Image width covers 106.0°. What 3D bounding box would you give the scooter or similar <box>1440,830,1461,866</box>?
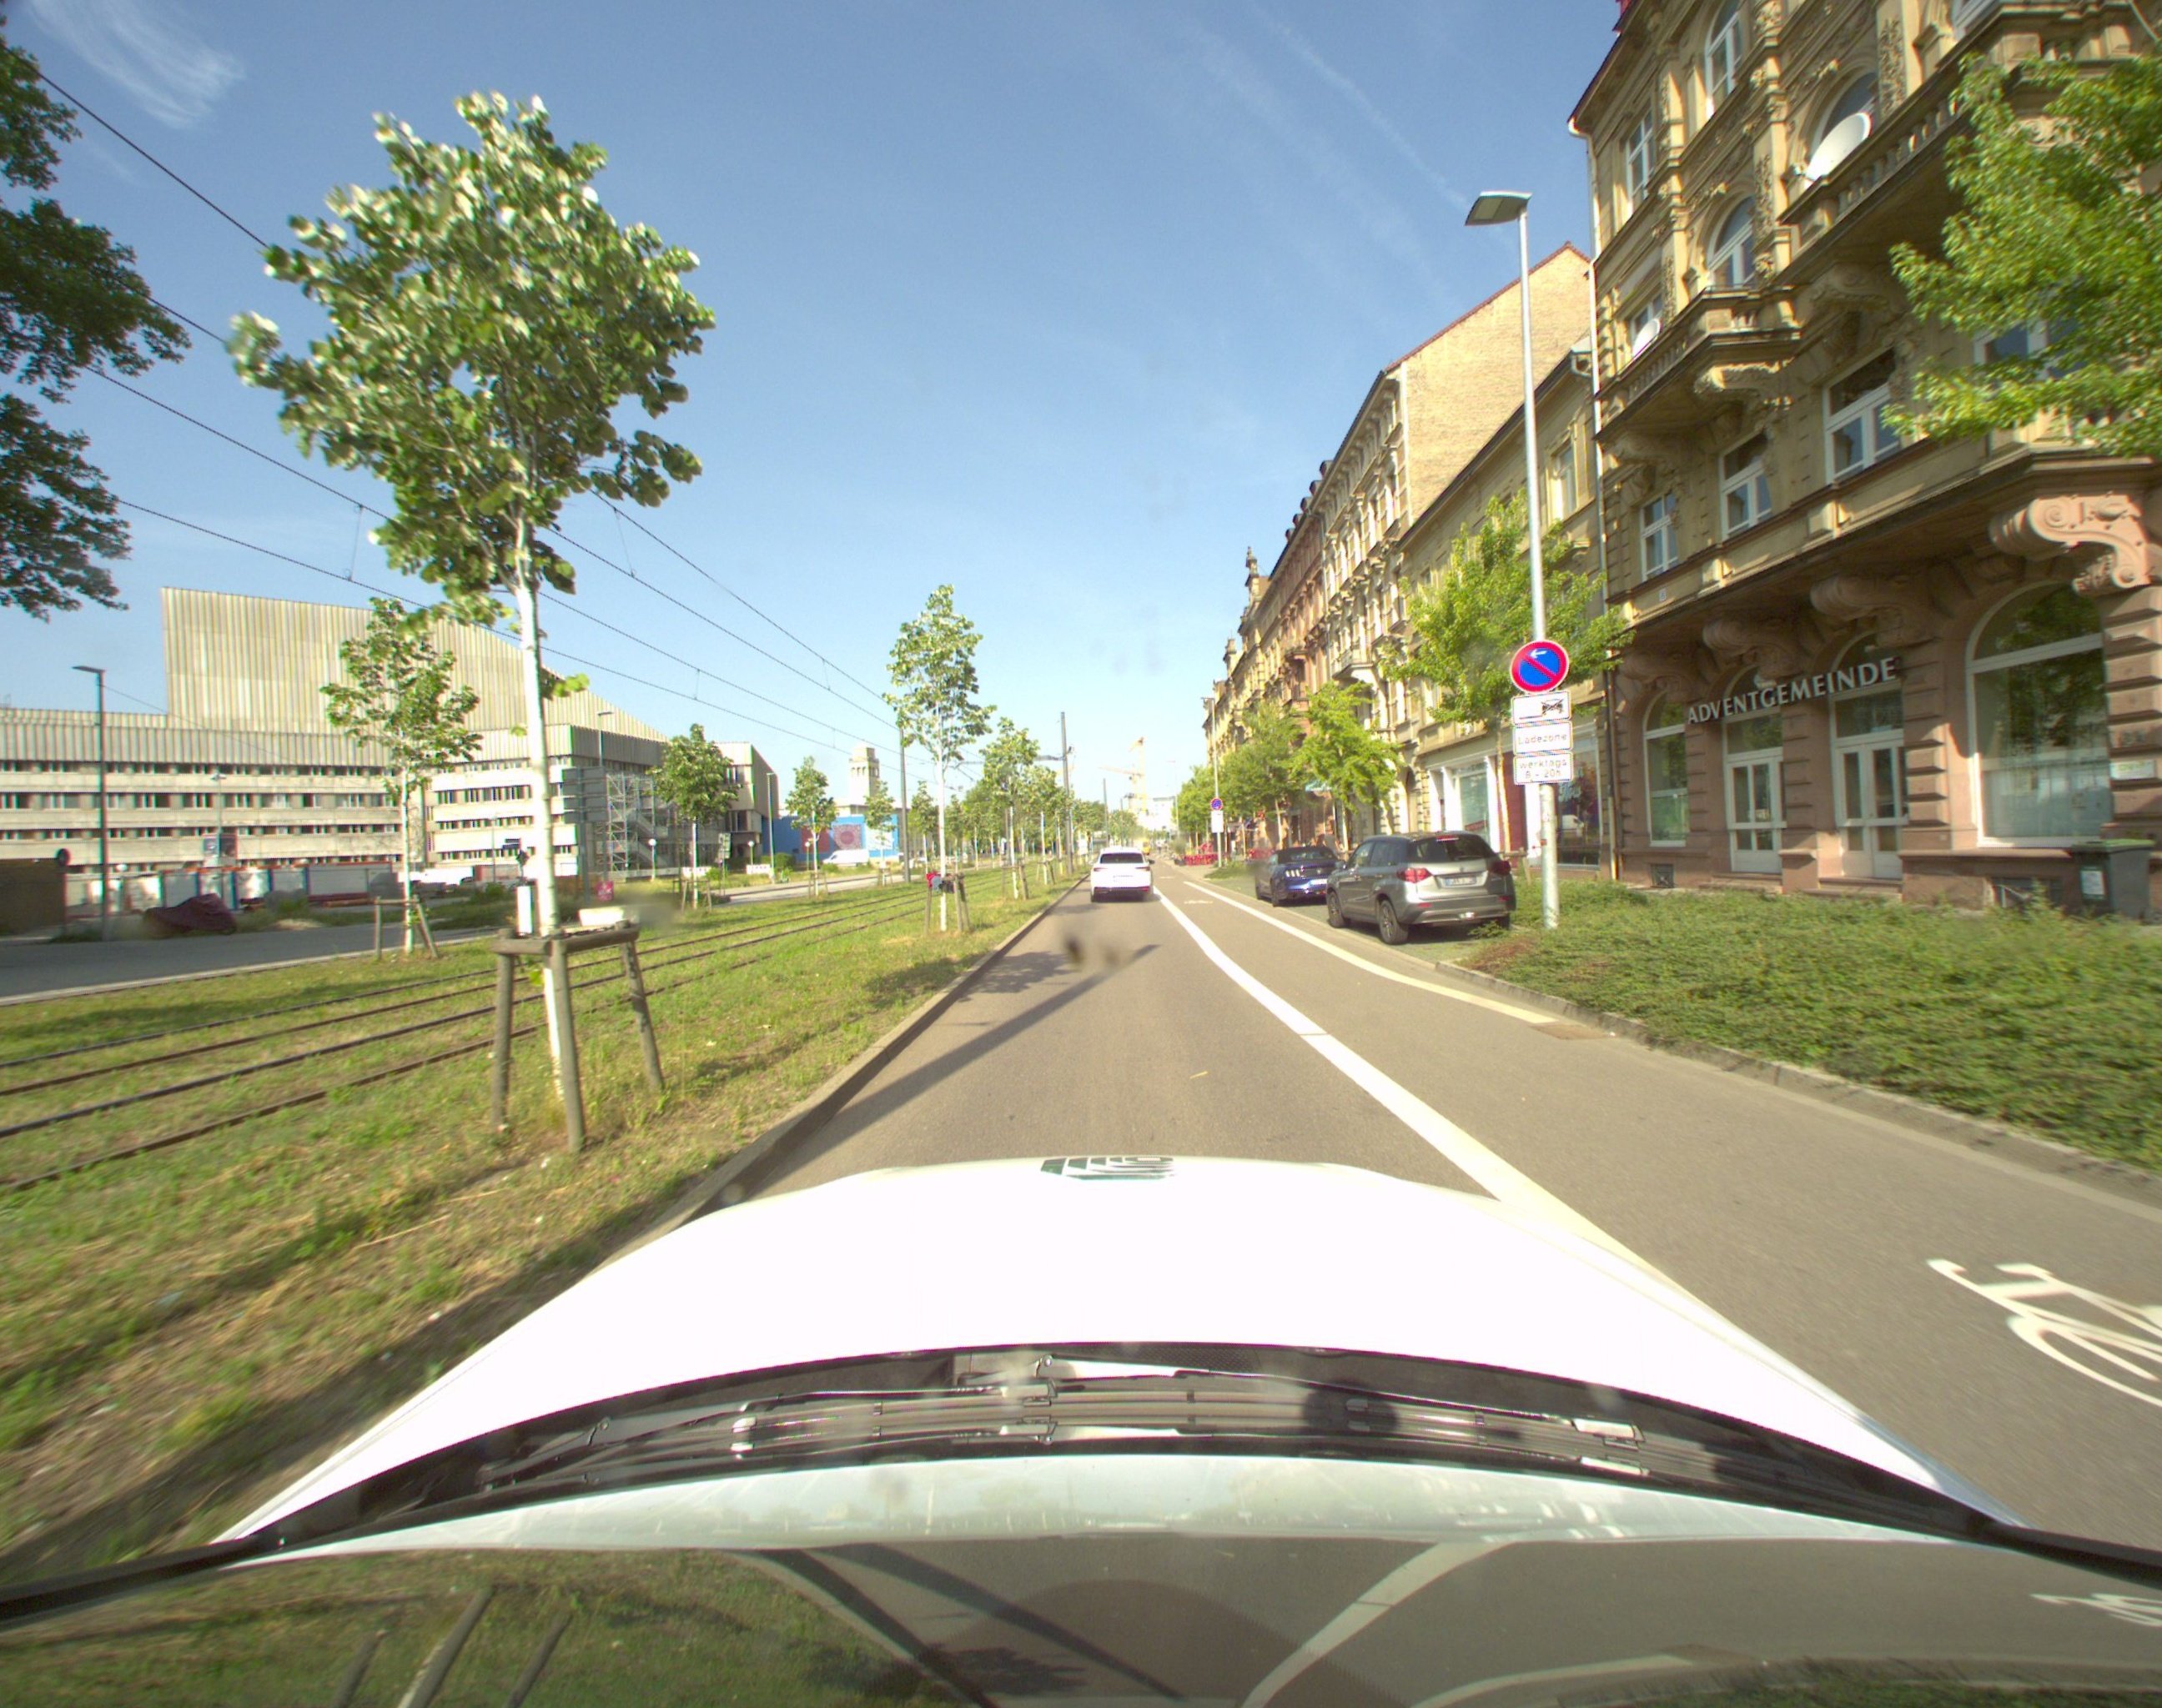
[{"bbox_3d":[11.982,-0.211,26.414,0.287,1.134,1.091,-2,1,9],"label":"scooter or similar"}]

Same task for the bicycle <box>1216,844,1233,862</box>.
[{"bbox_3d":[9.216,-0.081,52.263,0.594,1.122,1.924,-3,1,-3],"label":"bicycle"}]

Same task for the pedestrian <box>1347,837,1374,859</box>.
[{"bbox_3d":[12.329,-0.272,35.946,0.875,0.876,0.711,-5,1,-1],"label":"pedestrian"}]

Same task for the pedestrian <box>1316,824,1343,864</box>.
[{"bbox_3d":[10.968,-0.442,35.947,0.820,1.696,0.793,-5,1,-2],"label":"pedestrian"}]

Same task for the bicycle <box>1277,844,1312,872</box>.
[{"bbox_3d":[8.782,0.166,33.493,0.449,1.082,1.889,-4,-2,44],"label":"bicycle"}]

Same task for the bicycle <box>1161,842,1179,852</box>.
[{"bbox_3d":[9.892,-0.810,90.562,1.924,0.945,0.441,-5,1,7],"label":"bicycle"}]

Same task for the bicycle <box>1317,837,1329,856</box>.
[{"bbox_3d":[12.827,-0.405,43.127,0.394,1.018,1.258,-2,1,8],"label":"bicycle"}]

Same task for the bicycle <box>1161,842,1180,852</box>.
[{"bbox_3d":[9.748,-0.740,88.736,1.926,0.874,0.441,-5,1,4],"label":"bicycle"}]

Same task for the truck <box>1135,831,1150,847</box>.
[{"bbox_3d":[9.731,-2.388,128.620,2.202,2.318,5.898,-3,1,5],"label":"truck"}]

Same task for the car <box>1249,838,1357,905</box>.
[{"bbox_3d":[5.526,0.360,20.852,1.729,1.396,4.720,-4,1,4],"label":"car"}]

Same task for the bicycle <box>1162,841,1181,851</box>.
[{"bbox_3d":[9.684,-0.848,87.089,1.946,0.986,0.471,-5,1,4],"label":"bicycle"}]

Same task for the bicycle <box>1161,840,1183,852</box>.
[{"bbox_3d":[9.505,-0.844,85.224,2.229,1.104,0.589,-5,1,4],"label":"bicycle"}]

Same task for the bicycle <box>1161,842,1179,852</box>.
[{"bbox_3d":[9.951,-0.814,91.039,1.924,0.945,0.441,-5,1,7],"label":"bicycle"}]

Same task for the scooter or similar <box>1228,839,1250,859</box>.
[{"bbox_3d":[9.938,-0.312,51.146,1.250,1.157,0.340,-5,0,6],"label":"scooter or similar"}]

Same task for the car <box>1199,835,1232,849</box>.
[{"bbox_3d":[18.390,-1.669,111.162,4.329,1.683,2.005,-2,1,8],"label":"car"}]

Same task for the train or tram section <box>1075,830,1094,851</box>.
[{"bbox_3d":[0.769,-2.491,149.889,2.887,3.586,12.485,-3,0,2],"label":"train or tram section"}]

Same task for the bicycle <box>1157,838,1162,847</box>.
[{"bbox_3d":[14.441,-2.082,149.204,0.778,1.496,2.804,-3,1,4],"label":"bicycle"}]

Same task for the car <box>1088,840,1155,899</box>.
[{"bbox_3d":[1.244,0.404,25.070,1.810,1.589,4.410,-2,1,3],"label":"car"}]

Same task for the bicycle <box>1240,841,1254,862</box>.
[{"bbox_3d":[8.998,-0.137,44.202,0.501,1.060,1.721,-4,1,17],"label":"bicycle"}]

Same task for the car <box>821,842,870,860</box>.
[{"bbox_3d":[-35.352,-0.467,122.261,6.894,2.638,2.499,0,0,-19],"label":"car"}]

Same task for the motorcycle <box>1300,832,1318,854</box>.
[{"bbox_3d":[12.550,-0.593,44.828,0.461,1.175,1.947,-5,0,3],"label":"motorcycle"}]

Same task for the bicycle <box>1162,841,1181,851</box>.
[{"bbox_3d":[9.632,-0.844,86.611,1.926,0.986,0.471,-5,1,4],"label":"bicycle"}]

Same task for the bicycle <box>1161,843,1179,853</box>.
[{"bbox_3d":[9.850,-0.678,90.075,1.924,1.013,0.441,-5,0,7],"label":"bicycle"}]

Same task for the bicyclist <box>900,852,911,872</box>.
[{"bbox_3d":[-15.576,0.718,72.174,0.644,1.736,0.919,-4,0,3],"label":"bicyclist"}]

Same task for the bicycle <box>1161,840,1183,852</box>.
[{"bbox_3d":[9.560,-0.848,85.777,2.229,1.104,0.519,-5,1,4],"label":"bicycle"}]

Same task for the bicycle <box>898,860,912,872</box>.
[{"bbox_3d":[-15.556,1.088,72.122,0.659,0.961,2.080,-4,0,3],"label":"bicycle"}]

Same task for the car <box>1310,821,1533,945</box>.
[{"bbox_3d":[5.296,0.365,13.356,1.764,1.588,4.246,-4,1,-1],"label":"car"}]

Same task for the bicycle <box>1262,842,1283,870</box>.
[{"bbox_3d":[8.072,0.069,34.404,0.490,1.093,1.828,-3,1,3],"label":"bicycle"}]

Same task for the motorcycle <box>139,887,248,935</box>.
[{"bbox_3d":[-29.697,1.882,27.315,2.307,1.368,0.809,-3,1,-35],"label":"motorcycle"}]
